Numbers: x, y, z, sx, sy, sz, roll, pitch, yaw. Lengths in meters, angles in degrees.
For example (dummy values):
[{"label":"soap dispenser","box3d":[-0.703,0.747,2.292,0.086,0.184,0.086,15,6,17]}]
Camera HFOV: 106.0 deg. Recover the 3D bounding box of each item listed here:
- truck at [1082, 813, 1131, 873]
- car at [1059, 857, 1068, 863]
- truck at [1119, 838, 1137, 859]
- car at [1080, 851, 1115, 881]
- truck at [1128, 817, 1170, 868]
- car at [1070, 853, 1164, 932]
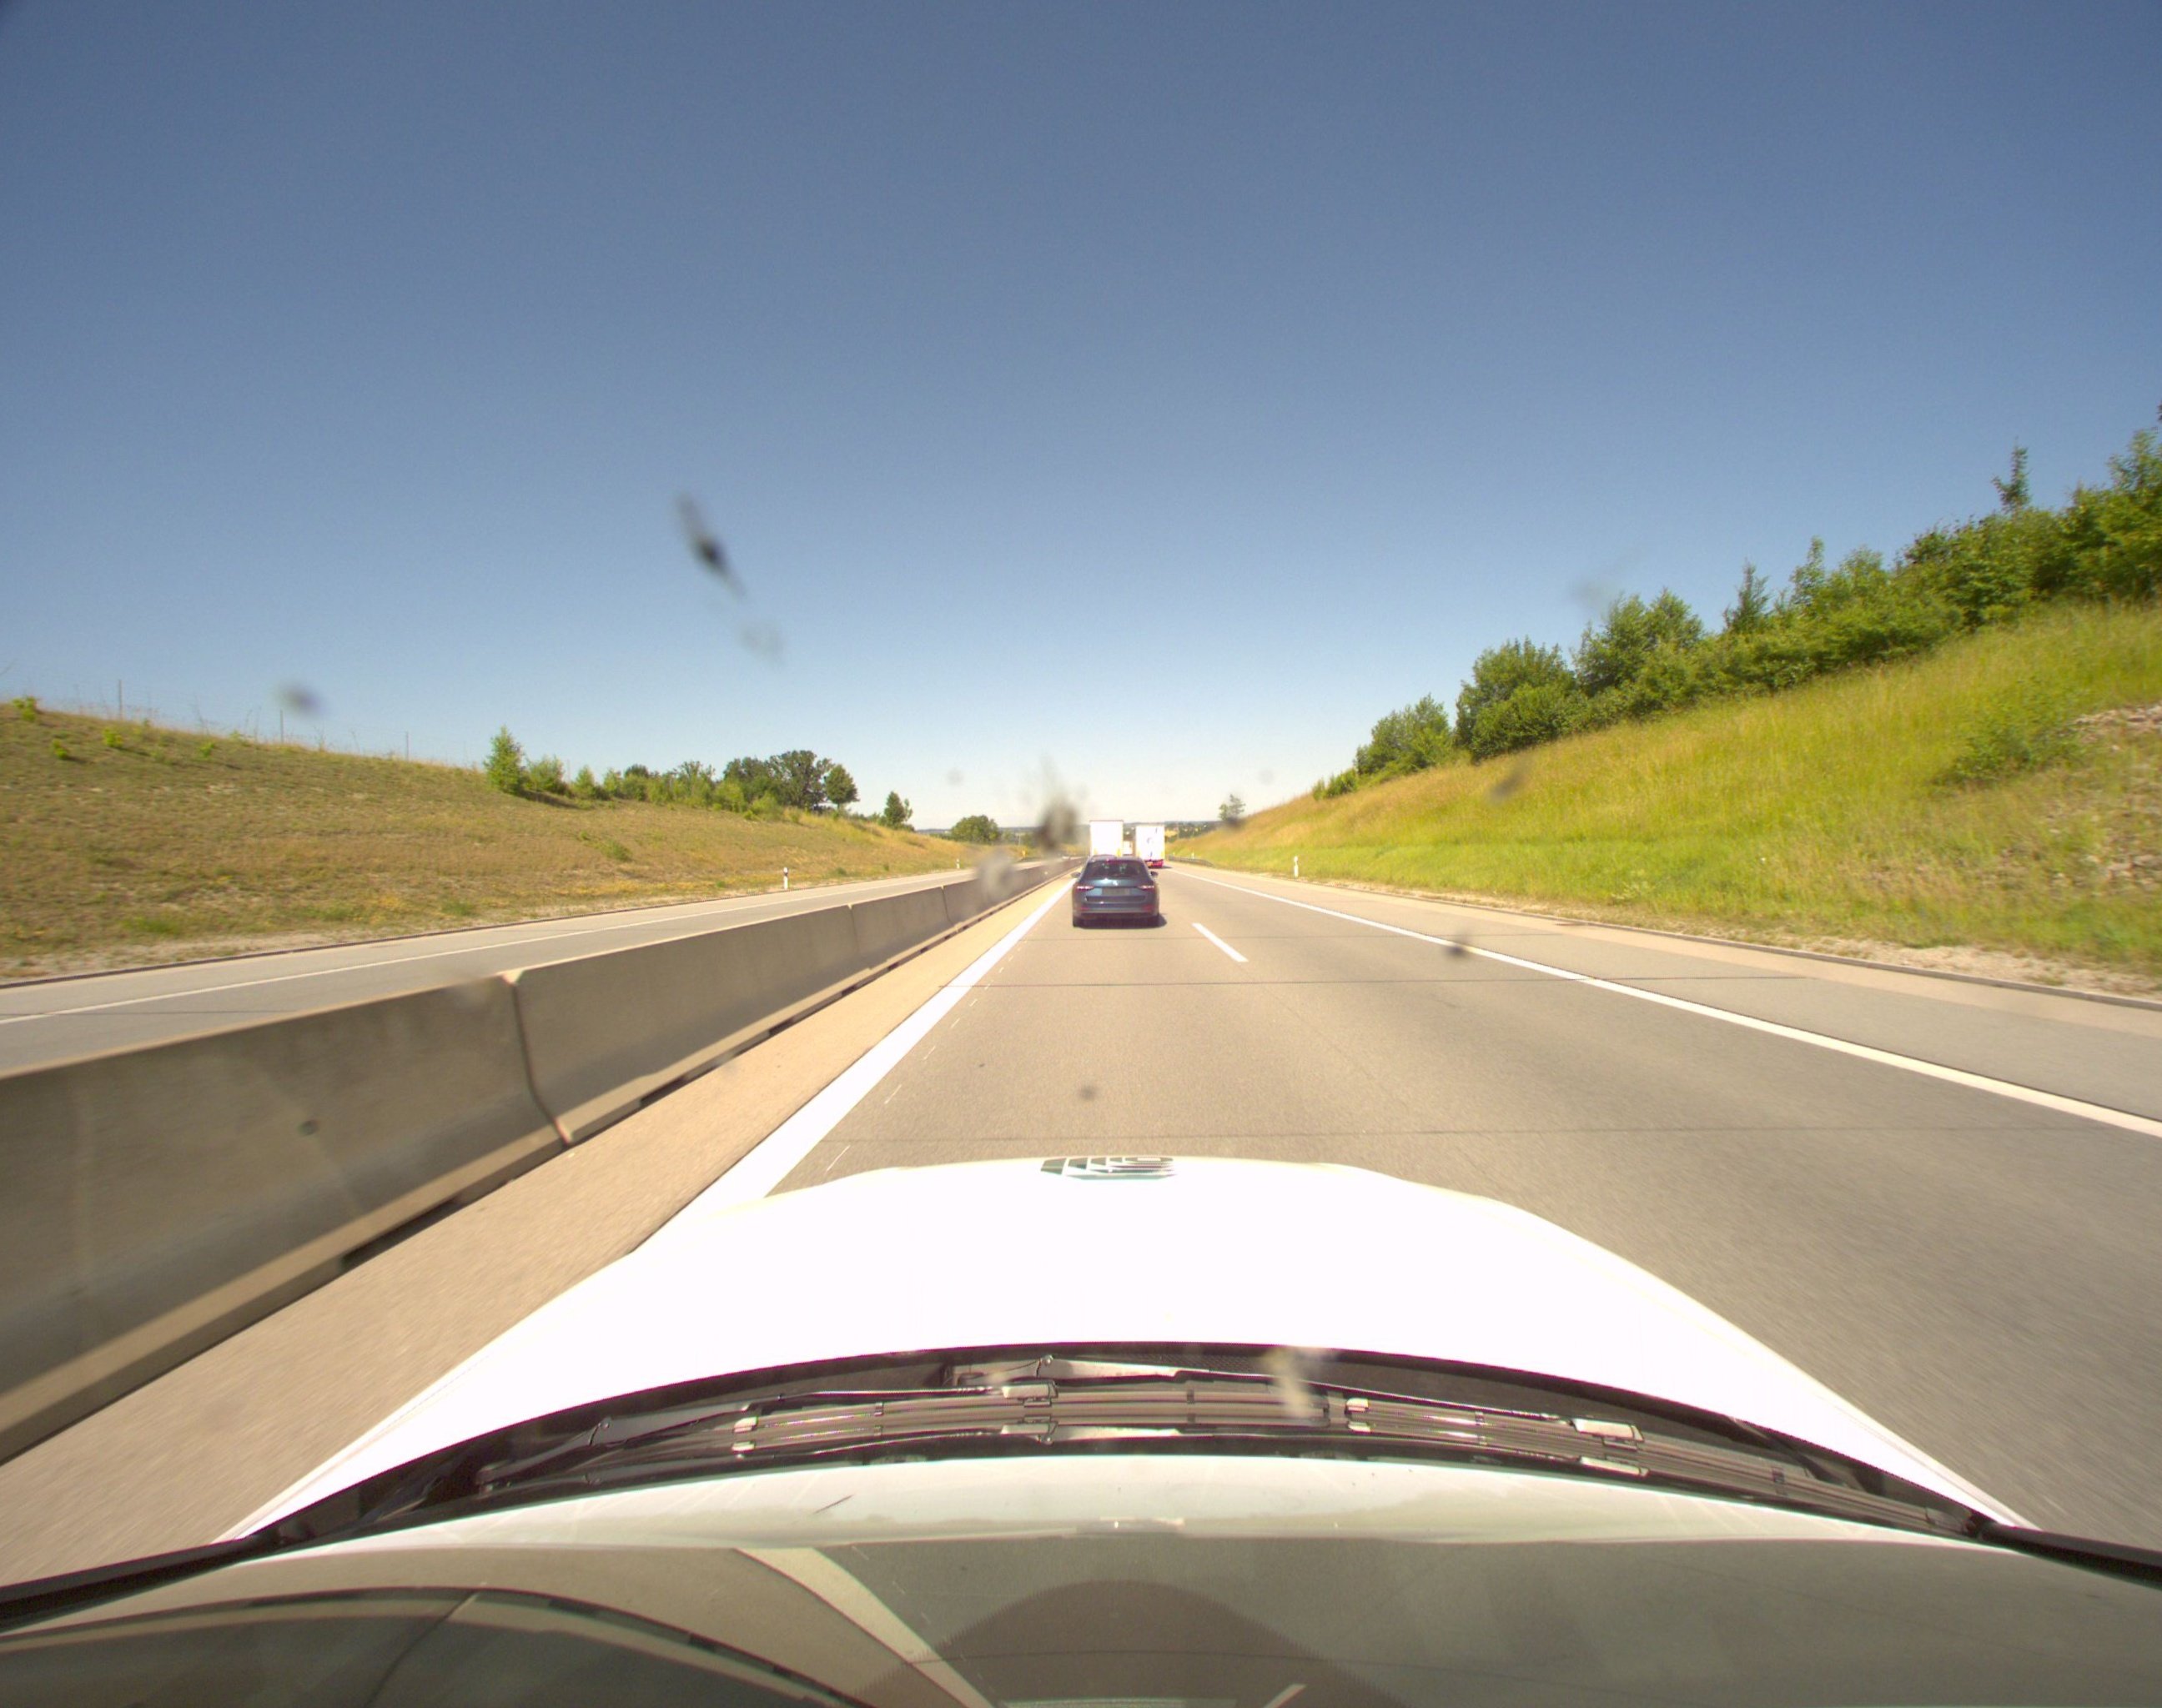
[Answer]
[{"label":"truck","box3d":[2.274,-0.864,67.620,3.196,4.381,11.249,-3,0,5]},{"label":"car","box3d":[-4.129,1.415,189.071,1.796,1.471,4.529,-1,0,2]},{"label":"truck","box3d":[10.913,-1.296,188.101,3.588,4.381,11.247,-3,0,5]},{"label":"car","box3d":[0.869,0.631,43.762,1.694,1.441,4.000,-3,0,1]},{"label":"truck","box3d":[6.584,-1.063,79.015,3.588,4.381,11.247,-3,0,5]},{"label":"car","box3d":[0.717,0.742,17.596,1.770,1.441,3.789,-2,0,1]}]
